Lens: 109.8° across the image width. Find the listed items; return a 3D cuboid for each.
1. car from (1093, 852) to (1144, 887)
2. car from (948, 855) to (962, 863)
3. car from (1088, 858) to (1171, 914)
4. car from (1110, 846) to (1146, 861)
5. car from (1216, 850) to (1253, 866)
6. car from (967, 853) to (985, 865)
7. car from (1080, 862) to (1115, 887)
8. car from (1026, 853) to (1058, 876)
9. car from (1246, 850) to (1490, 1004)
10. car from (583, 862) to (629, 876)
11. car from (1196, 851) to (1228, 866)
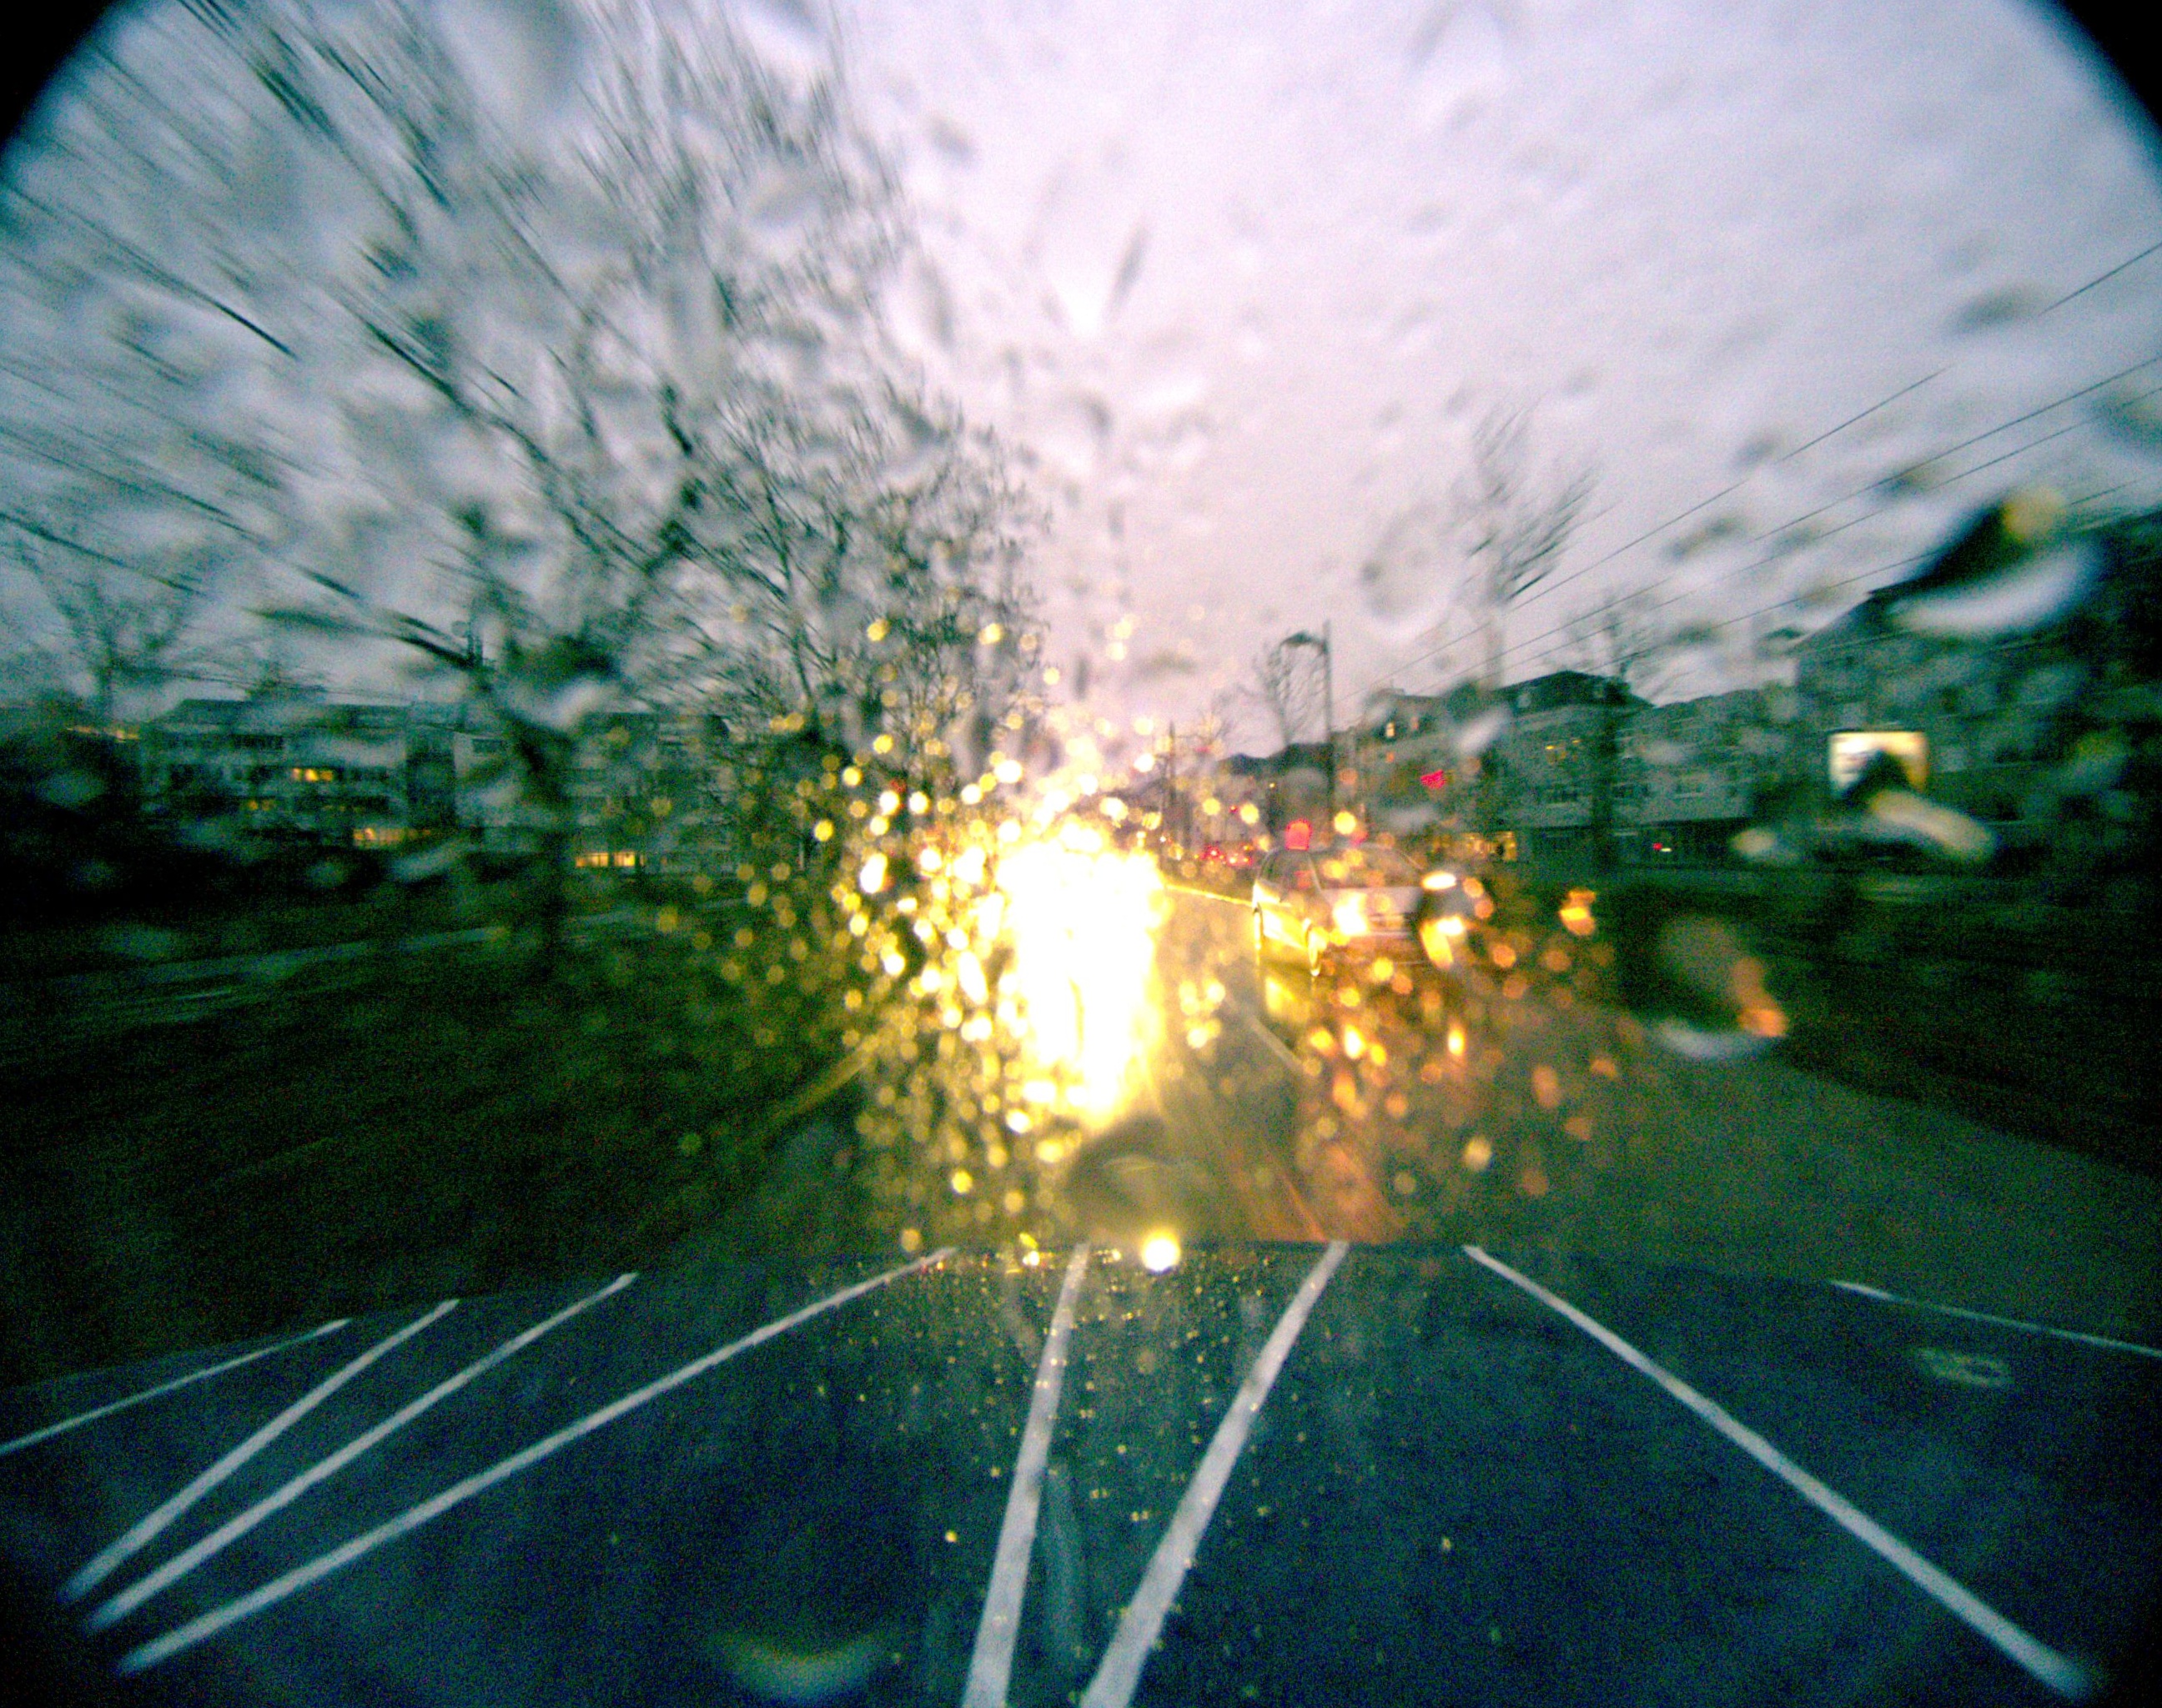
[{"bbox_3d":[1.787,0.704,37.428,1.924,1.546,4.215,-3,0,-4],"label":"car"},{"bbox_3d":[-21.315,0.795,128.416,2.001,1.316,3.994,-1,0,-16],"label":"car"},{"bbox_3d":[1.244,0.823,21.382,1.897,1.347,4.288,-1,0,-2],"label":"car"},{"bbox_3d":[6.176,-0.027,100.923,4.670,1.846,2.328,-1,0,1],"label":"car"},{"bbox_3d":[13.717,0.351,68.021,1.898,1.347,4.286,-1,0,-8],"label":"car"},{"bbox_3d":[-14.577,0.747,105.204,1.951,1.546,4.212,-3,0,-13],"label":"car"},{"bbox_3d":[1.104,1.389,52.743,1.845,1.546,4.214,-3,0,-6],"label":"car"},{"bbox_3d":[-2.865,0.721,54.882,1.950,1.546,4.214,-3,0,-7],"label":"car"},{"bbox_3d":[3.412,0.748,9.868,1.669,1.566,3.922,-1,0,0],"label":"car"},{"bbox_3d":[-55.078,1.746,88.204,4.168,1.430,1.901,-1,0,-19],"label":"car"},{"bbox_3d":[12.783,0.444,74.240,1.898,1.347,4.286,-1,0,-7],"label":"car"}]
